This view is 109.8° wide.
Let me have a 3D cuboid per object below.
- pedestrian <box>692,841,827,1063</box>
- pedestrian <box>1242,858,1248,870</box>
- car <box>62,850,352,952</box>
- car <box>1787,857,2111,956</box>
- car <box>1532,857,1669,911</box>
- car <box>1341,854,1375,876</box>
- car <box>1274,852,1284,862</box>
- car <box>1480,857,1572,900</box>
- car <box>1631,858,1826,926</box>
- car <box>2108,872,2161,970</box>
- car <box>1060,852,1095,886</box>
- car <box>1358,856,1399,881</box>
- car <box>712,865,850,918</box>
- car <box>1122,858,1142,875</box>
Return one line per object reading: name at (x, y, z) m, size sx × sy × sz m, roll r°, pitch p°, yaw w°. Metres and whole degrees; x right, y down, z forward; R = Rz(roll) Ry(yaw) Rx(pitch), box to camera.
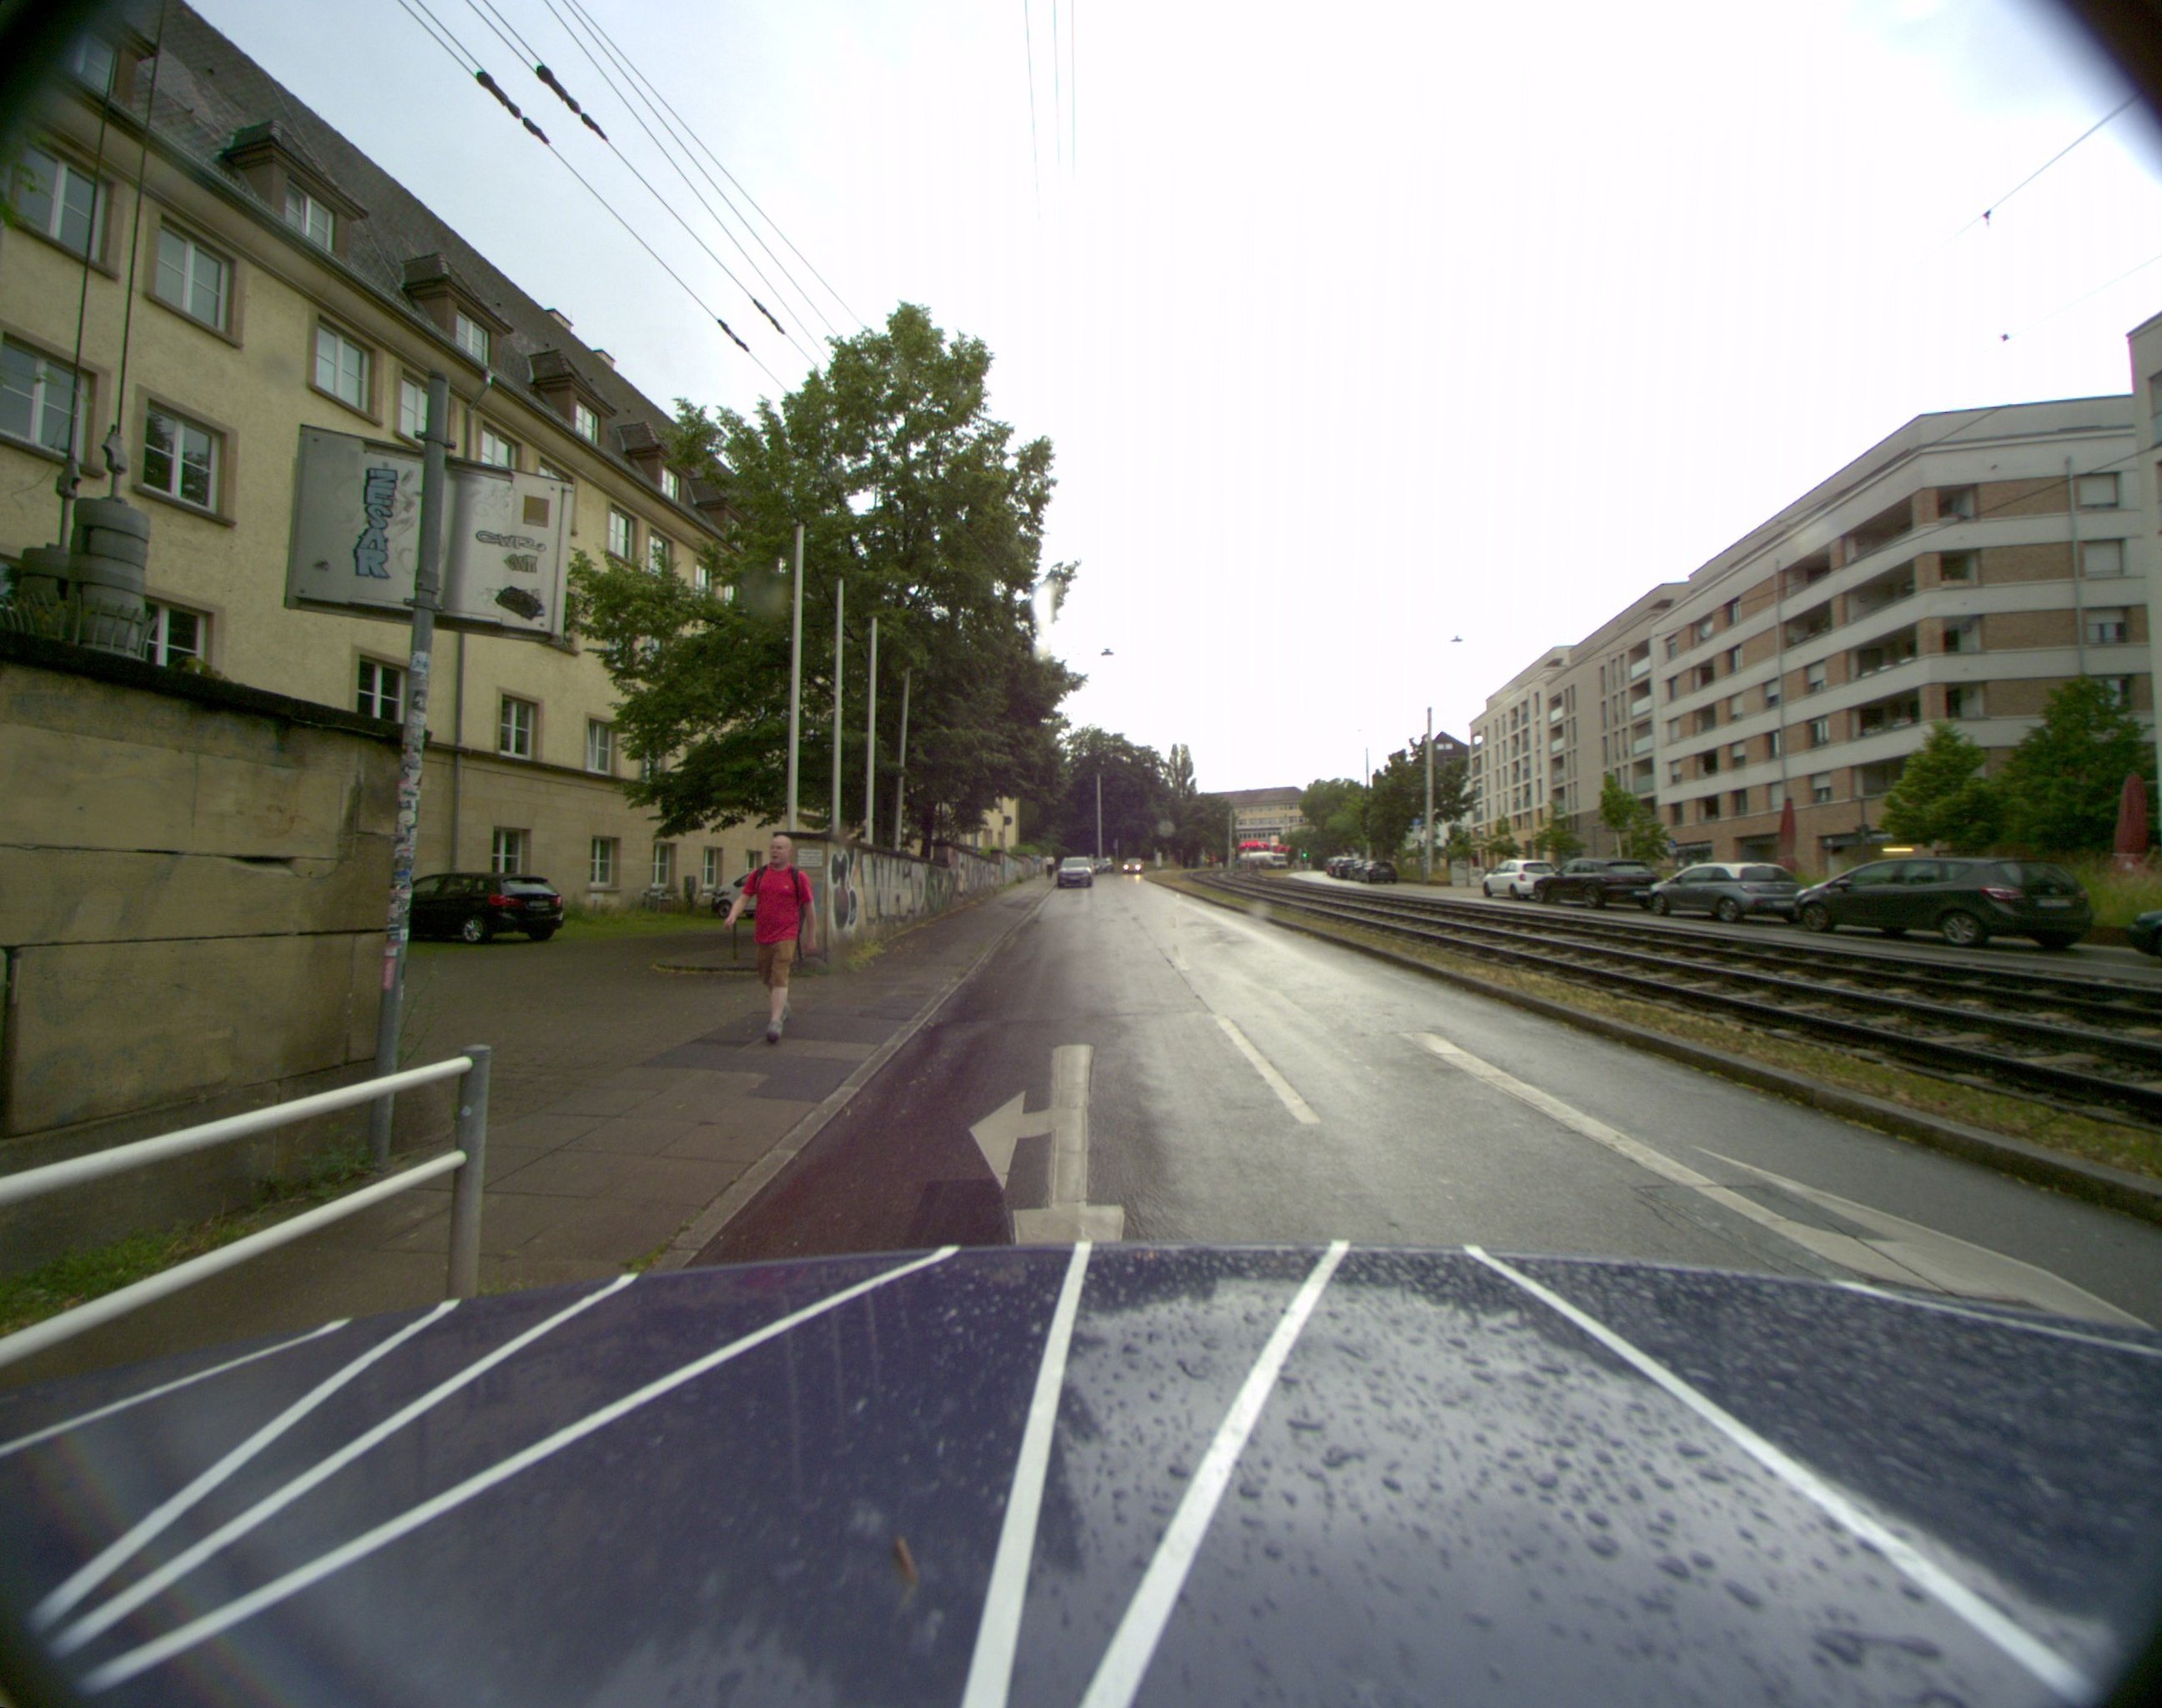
pedestrian at (-2.715, 0.790, 6.503) m, size 0.748 × 1.754 × 0.818 m, roll 2°, pitch 0°, yaw 0°
pedestrian at (24.325, 1.421, 112.680) m, size 0.748 × 1.754 × 0.819 m, roll 2°, pitch 0°, yaw 7°
car at (-14.312, 0.754, 12.473) m, size 3.908 × 1.461 × 1.614 m, roll -2°, pitch 1°, yaw 17°
car at (16.155, 0.876, 14.506) m, size 1.684 × 1.554 × 3.928 m, roll -1°, pitch 0°, yaw 0°
car at (16.556, 0.898, 24.496) m, size 1.683 × 1.496 × 4.406 m, roll -1°, pitch 0°, yaw 5°
car at (20.526, 0.772, 56.378) m, size 1.653 × 1.455 × 3.672 m, roll -2°, pitch 0°, yaw 9°
car at (35.192, 0.566, 135.096) m, size 1.666 × 1.597 × 3.812 m, roll -2°, pitch 1°, yaw 16°
car at (17.130, 0.908, 29.467) m, size 1.649 × 1.496 × 3.782 m, roll -1°, pitch 0°, yaw 6°
car at (16.547, 0.903, 19.711) m, size 1.684 × 1.496 × 3.928 m, roll -1°, pitch 0°, yaw 0°
car at (16.360, 0.974, 9.464) m, size 1.684 × 1.372 × 4.032 m, roll -1°, pitch 0°, yaw 0°
car at (-0.213, 0.754, 41.038) m, size 1.726 × 1.676 × 3.866 m, roll -3°, pitch 0°, yaw 0°
car at (18.975, 0.898, 48.634) m, size 1.653 × 1.455 × 3.672 m, roll -2°, pitch 0°, yaw 9°
car at (-11.326, 1.403, 28.801) m, size 4.526 × 1.769 × 1.824 m, roll -2°, pitch 1°, yaw 11°
car at (4.826, 1.165, 71.810) m, size 1.594 × 1.455 × 3.669 m, roll 0°, pitch 0°, yaw 0°
